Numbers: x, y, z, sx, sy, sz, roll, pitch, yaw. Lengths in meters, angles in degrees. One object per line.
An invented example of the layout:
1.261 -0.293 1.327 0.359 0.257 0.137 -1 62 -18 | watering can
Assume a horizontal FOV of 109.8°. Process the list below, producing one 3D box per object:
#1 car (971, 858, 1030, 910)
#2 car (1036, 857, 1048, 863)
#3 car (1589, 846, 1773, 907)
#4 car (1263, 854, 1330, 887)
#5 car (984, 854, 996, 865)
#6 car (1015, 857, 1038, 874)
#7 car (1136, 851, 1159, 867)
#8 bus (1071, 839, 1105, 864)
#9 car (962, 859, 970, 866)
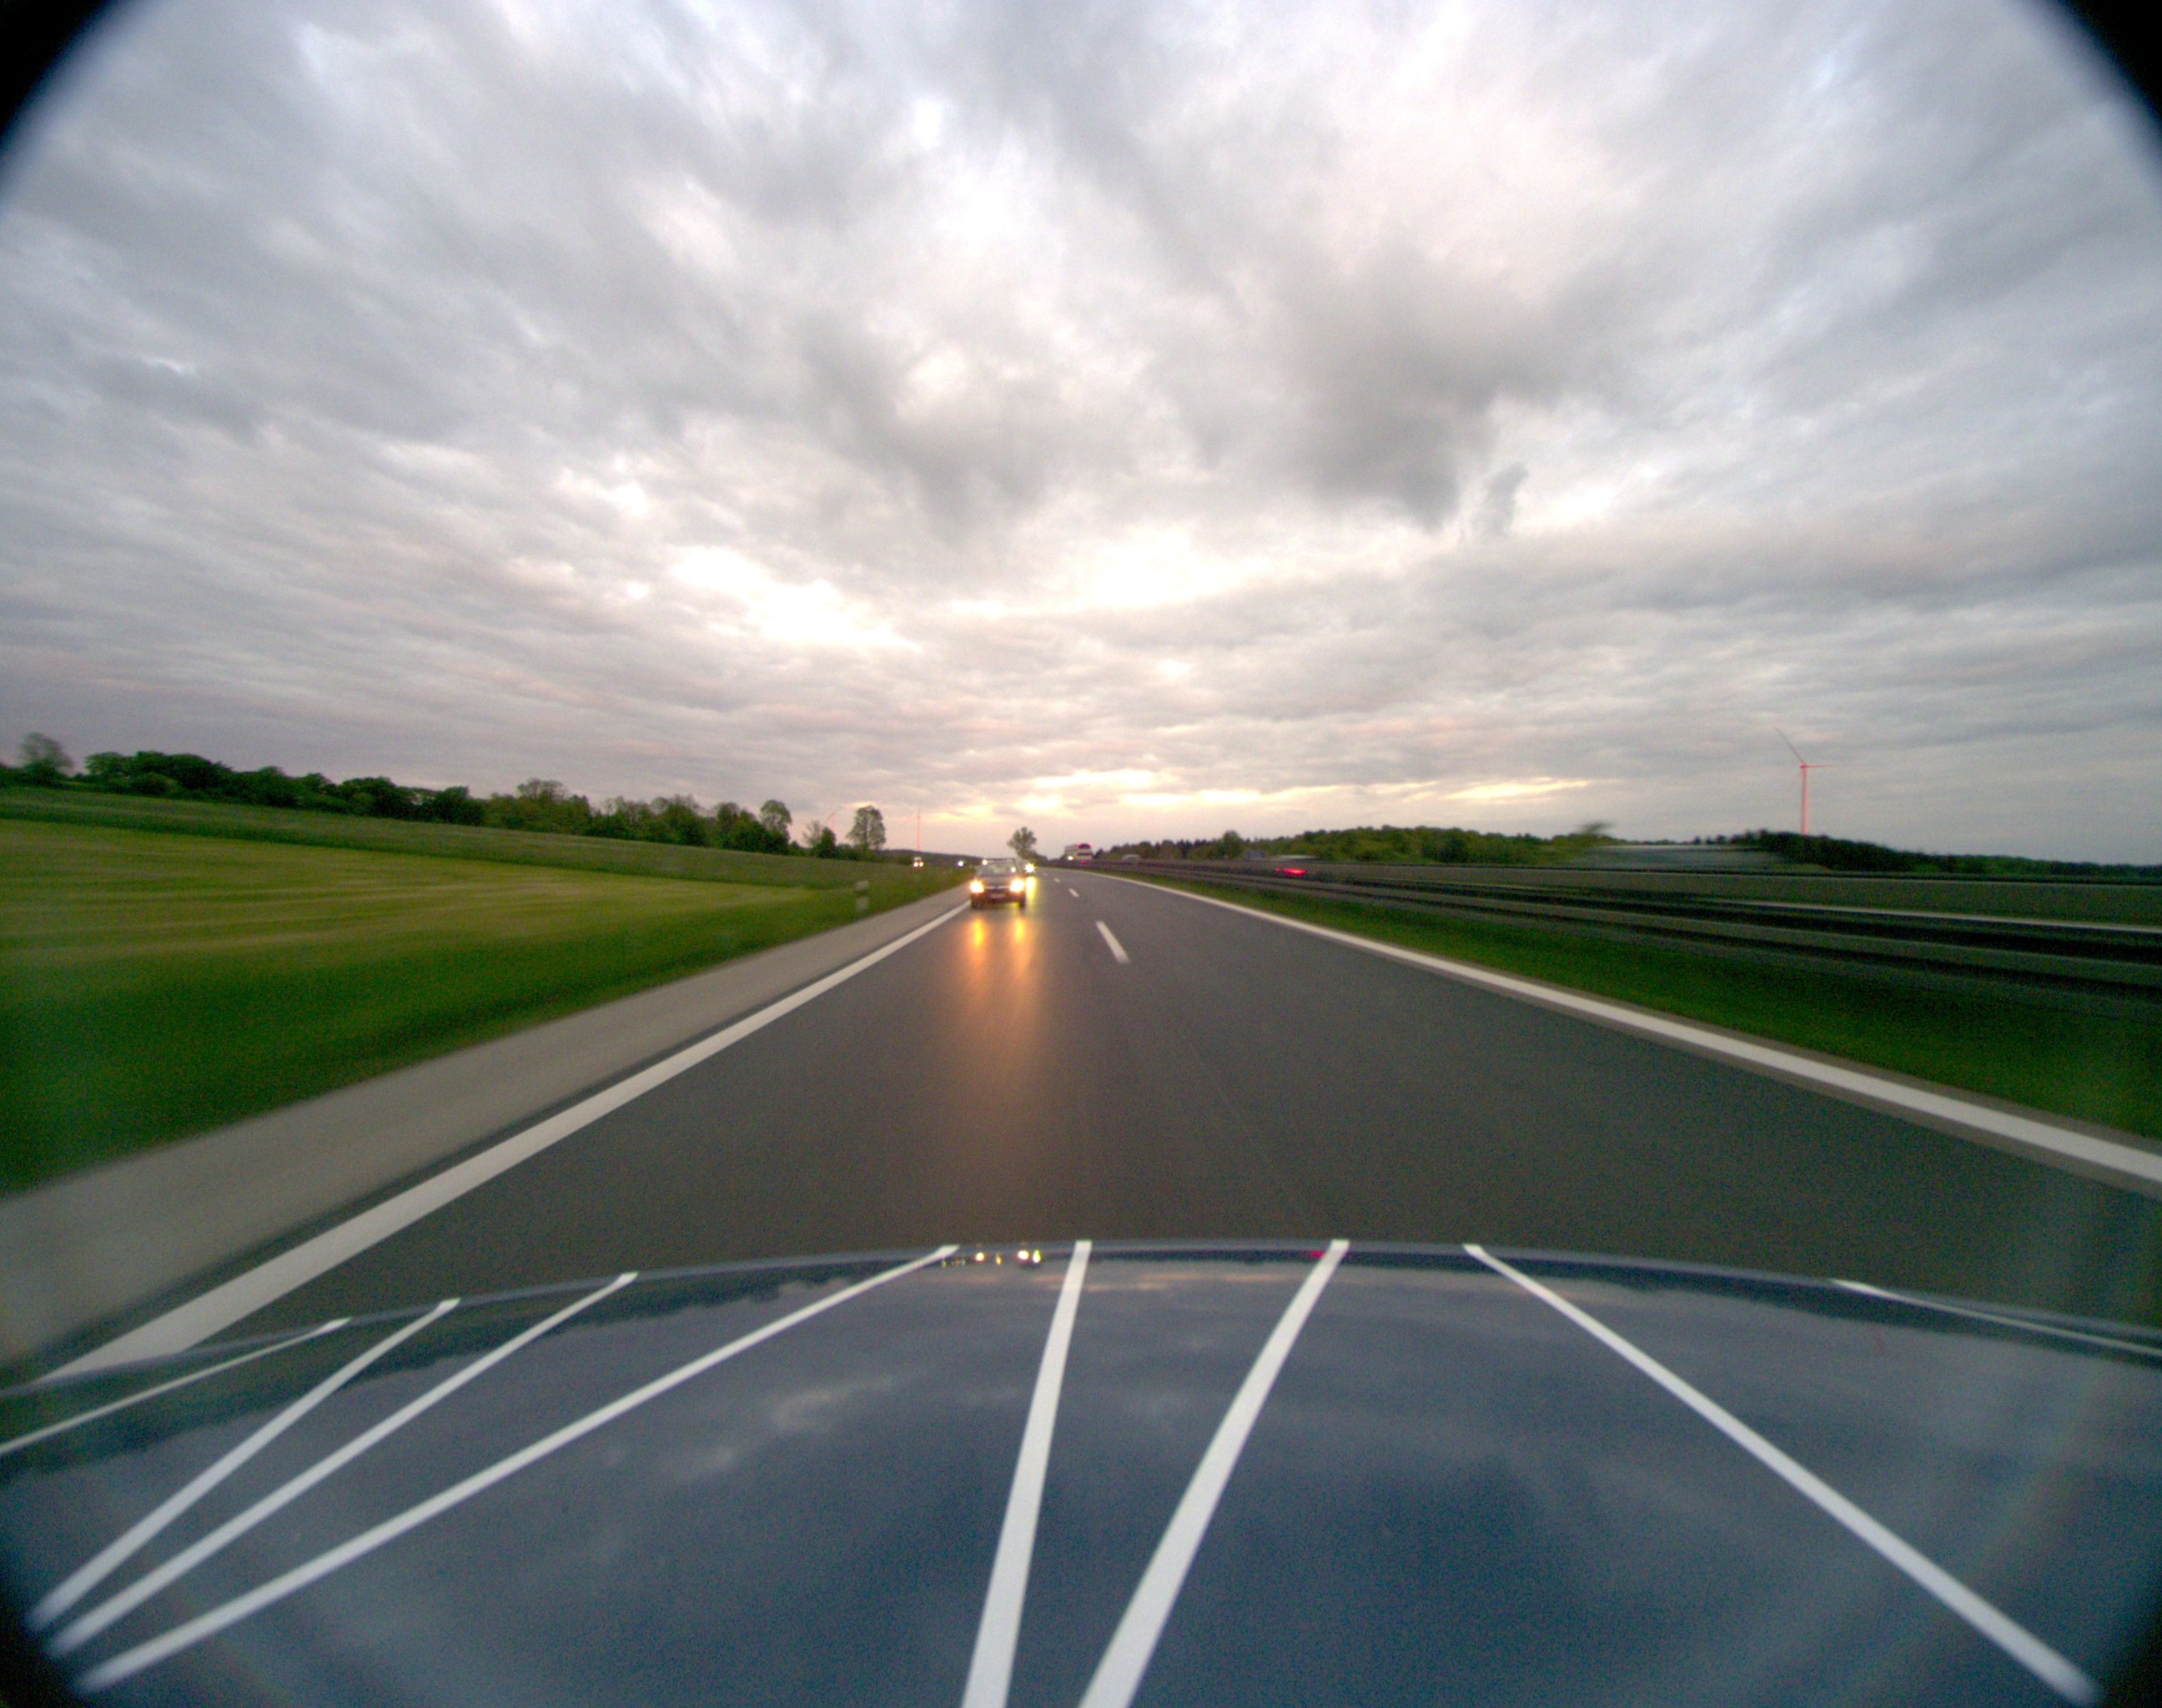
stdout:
-2.576 0.915 25.068 1.682 1.504 3.999 -2 0 -3 | car
-8.796 1.298 170.189 1.858 1.466 4.162 0 0 -15 | car
14.256 0.497 18.312 1.587 1.280 3.495 2 0 -1 | car
9.405 0.690 33.556 1.610 1.384 4.246 0 0 -2 | car
-16.487 0.966 137.341 1.921 1.827 3.996 0 0 -11 | car
-4.655 0.992 65.248 1.885 1.388 3.999 0 0 -3 | car
6.811 0.504 78.257 1.846 1.586 4.407 1 0 -3 | car
1.090 -0.441 136.275 3.176 4.052 14.795 -2 1 -10 | bus
-30.692 2.235 202.954 1.804 1.635 4.089 -1 0 -13 | car
